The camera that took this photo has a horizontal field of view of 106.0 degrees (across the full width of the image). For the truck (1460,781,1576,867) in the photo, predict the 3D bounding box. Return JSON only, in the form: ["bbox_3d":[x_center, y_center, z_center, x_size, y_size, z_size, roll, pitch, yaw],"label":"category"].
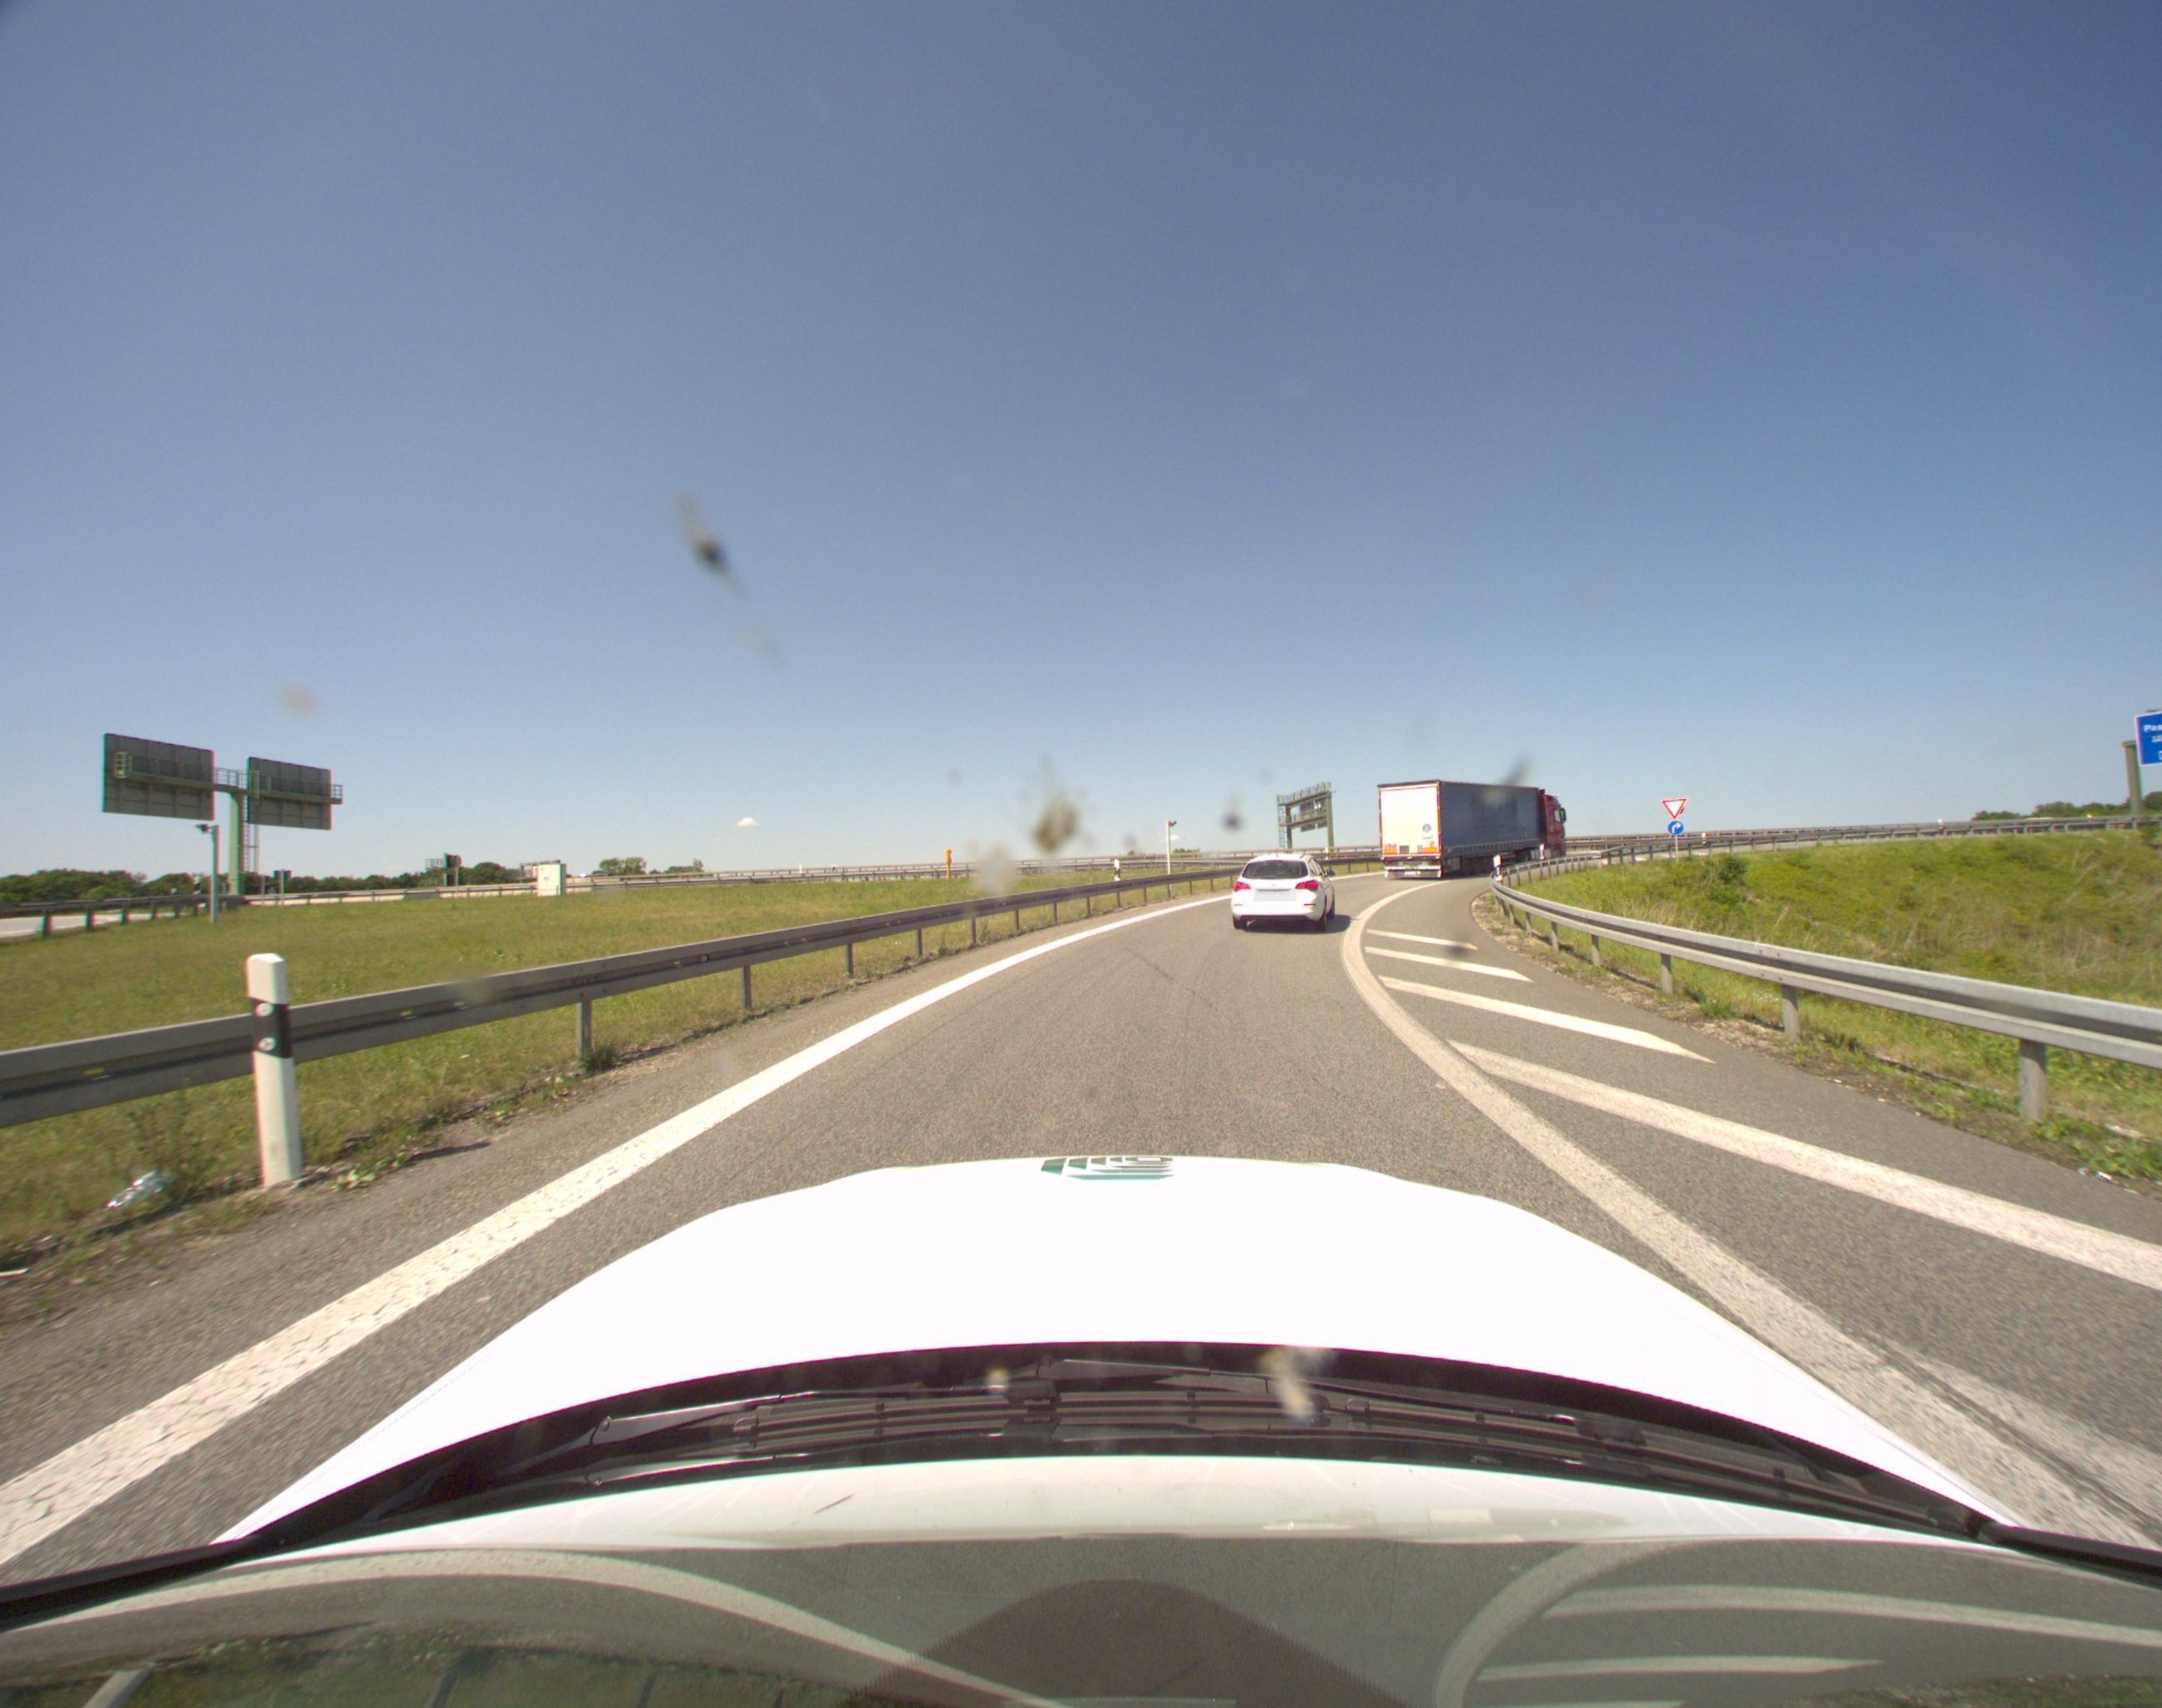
[{"bbox_3d":[22.887,-1.467,42.534,6.961,4.145,2.888,-1,-1,-40],"label":"truck"}]

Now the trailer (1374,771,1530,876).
[{"bbox_3d":[17.287,-1.228,37.289,2.885,4.145,11.325,-1,-1,44],"label":"trailer"}]

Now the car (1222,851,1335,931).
[{"bbox_3d":[4.271,0.694,17.098,1.839,1.443,4.393,-2,-1,19],"label":"car"}]
